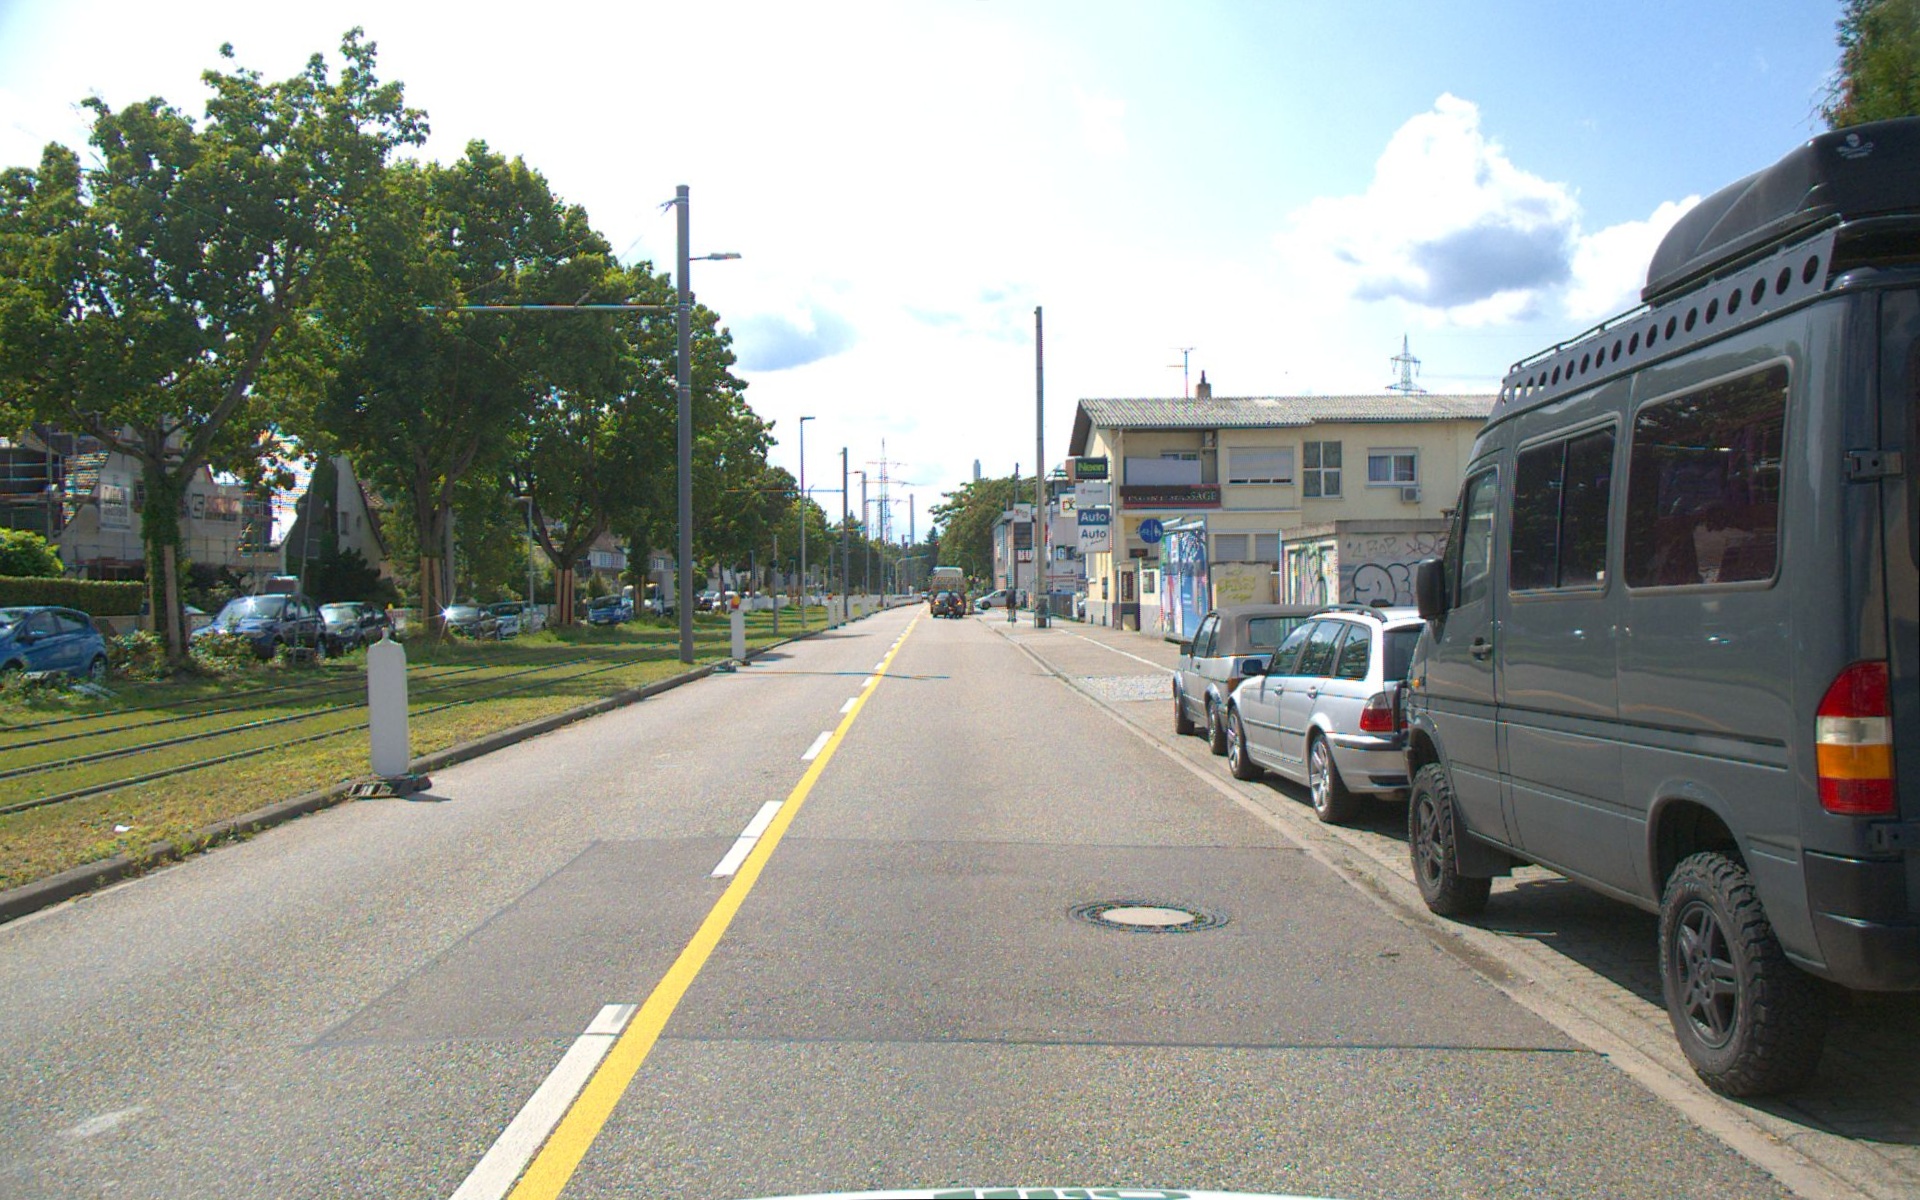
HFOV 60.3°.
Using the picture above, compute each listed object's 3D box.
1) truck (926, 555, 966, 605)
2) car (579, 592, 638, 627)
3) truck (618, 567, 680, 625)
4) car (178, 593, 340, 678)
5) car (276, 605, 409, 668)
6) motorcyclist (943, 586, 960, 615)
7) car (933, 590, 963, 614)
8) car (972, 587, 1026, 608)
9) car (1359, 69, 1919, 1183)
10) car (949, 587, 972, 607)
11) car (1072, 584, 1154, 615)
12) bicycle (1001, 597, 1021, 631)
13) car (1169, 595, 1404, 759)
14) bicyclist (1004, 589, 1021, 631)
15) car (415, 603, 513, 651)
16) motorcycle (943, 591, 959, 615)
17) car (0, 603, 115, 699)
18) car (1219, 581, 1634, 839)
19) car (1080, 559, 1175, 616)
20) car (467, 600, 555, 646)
[{"bbox_3d":[-0.939,-1.447,116.407,2.557,3.312,9.182,-2,1,0],"label":"truck"},{"bbox_3d":[-16.208,0.439,76.429,1.954,1.478,3.998,-2,0,-3],"label":"car"},{"bbox_3d":[-16.370,-0.248,87.414,1.953,2.815,6.275,-4,1,-1],"label":"truck"},{"bbox_3d":[-15.611,0.761,37.081,1.954,1.720,4.388,-2,0,-4],"label":"car"},{"bbox_3d":[-15.990,0.905,43.064,1.953,1.464,3.999,-3,0,-1],"label":"car"},{"bbox_3d":[-0.507,0.036,95.661,0.920,1.643,1.204,1,0,-1],"label":"motorcyclist"},{"bbox_3d":[-0.732,0.114,100.313,1.784,1.449,4.000,0,0,-1],"label":"car"},{"bbox_3d":[3.233,-0.230,137.832,4.250,1.579,1.946,-2,0,-9],"label":"car"},{"bbox_3d":[3.237,0.022,6.634,1.955,2.809,4.878,-2,0,-1],"label":"car"},{"bbox_3d":[0.016,-0.245,129.519,1.784,1.489,4.000,0,0,0],"label":"car"},{"bbox_3d":[7.787,-0.045,84.052,4.095,1.456,1.821,-1,0,6],"label":"car"},{"bbox_3d":[2.172,0.584,70.697,0.678,1.385,2.418,-1,0,-1],"label":"bicycle"},{"bbox_3d":[3.258,0.714,17.237,1.618,1.456,4.096,-2,0,0],"label":"car"},{"bbox_3d":[2.223,0.407,70.596,0.657,1.774,0.813,-1,0,-1],"label":"bicyclist"},{"bbox_3d":[-15.912,0.852,53.259,1.953,1.340,3.852,-4,0,-1],"label":"car"},{"bbox_3d":[-0.514,0.192,95.841,0.920,1.343,2.644,1,0,-1],"label":"motorcycle"},{"bbox_3d":[-15.384,0.807,26.379,1.718,1.461,3.890,-2,0,1],"label":"car"},{"bbox_3d":[3.243,0.692,12.456,1.658,1.542,4.353,-2,0,-3],"label":"car"},{"bbox_3d":[8.220,-0.606,81.331,4.443,2.618,2.151,-1,0,1],"label":"car"},{"bbox_3d":[-15.938,0.797,58.913,1.768,1.508,4.939,-2,0,0],"label":"car"}]
